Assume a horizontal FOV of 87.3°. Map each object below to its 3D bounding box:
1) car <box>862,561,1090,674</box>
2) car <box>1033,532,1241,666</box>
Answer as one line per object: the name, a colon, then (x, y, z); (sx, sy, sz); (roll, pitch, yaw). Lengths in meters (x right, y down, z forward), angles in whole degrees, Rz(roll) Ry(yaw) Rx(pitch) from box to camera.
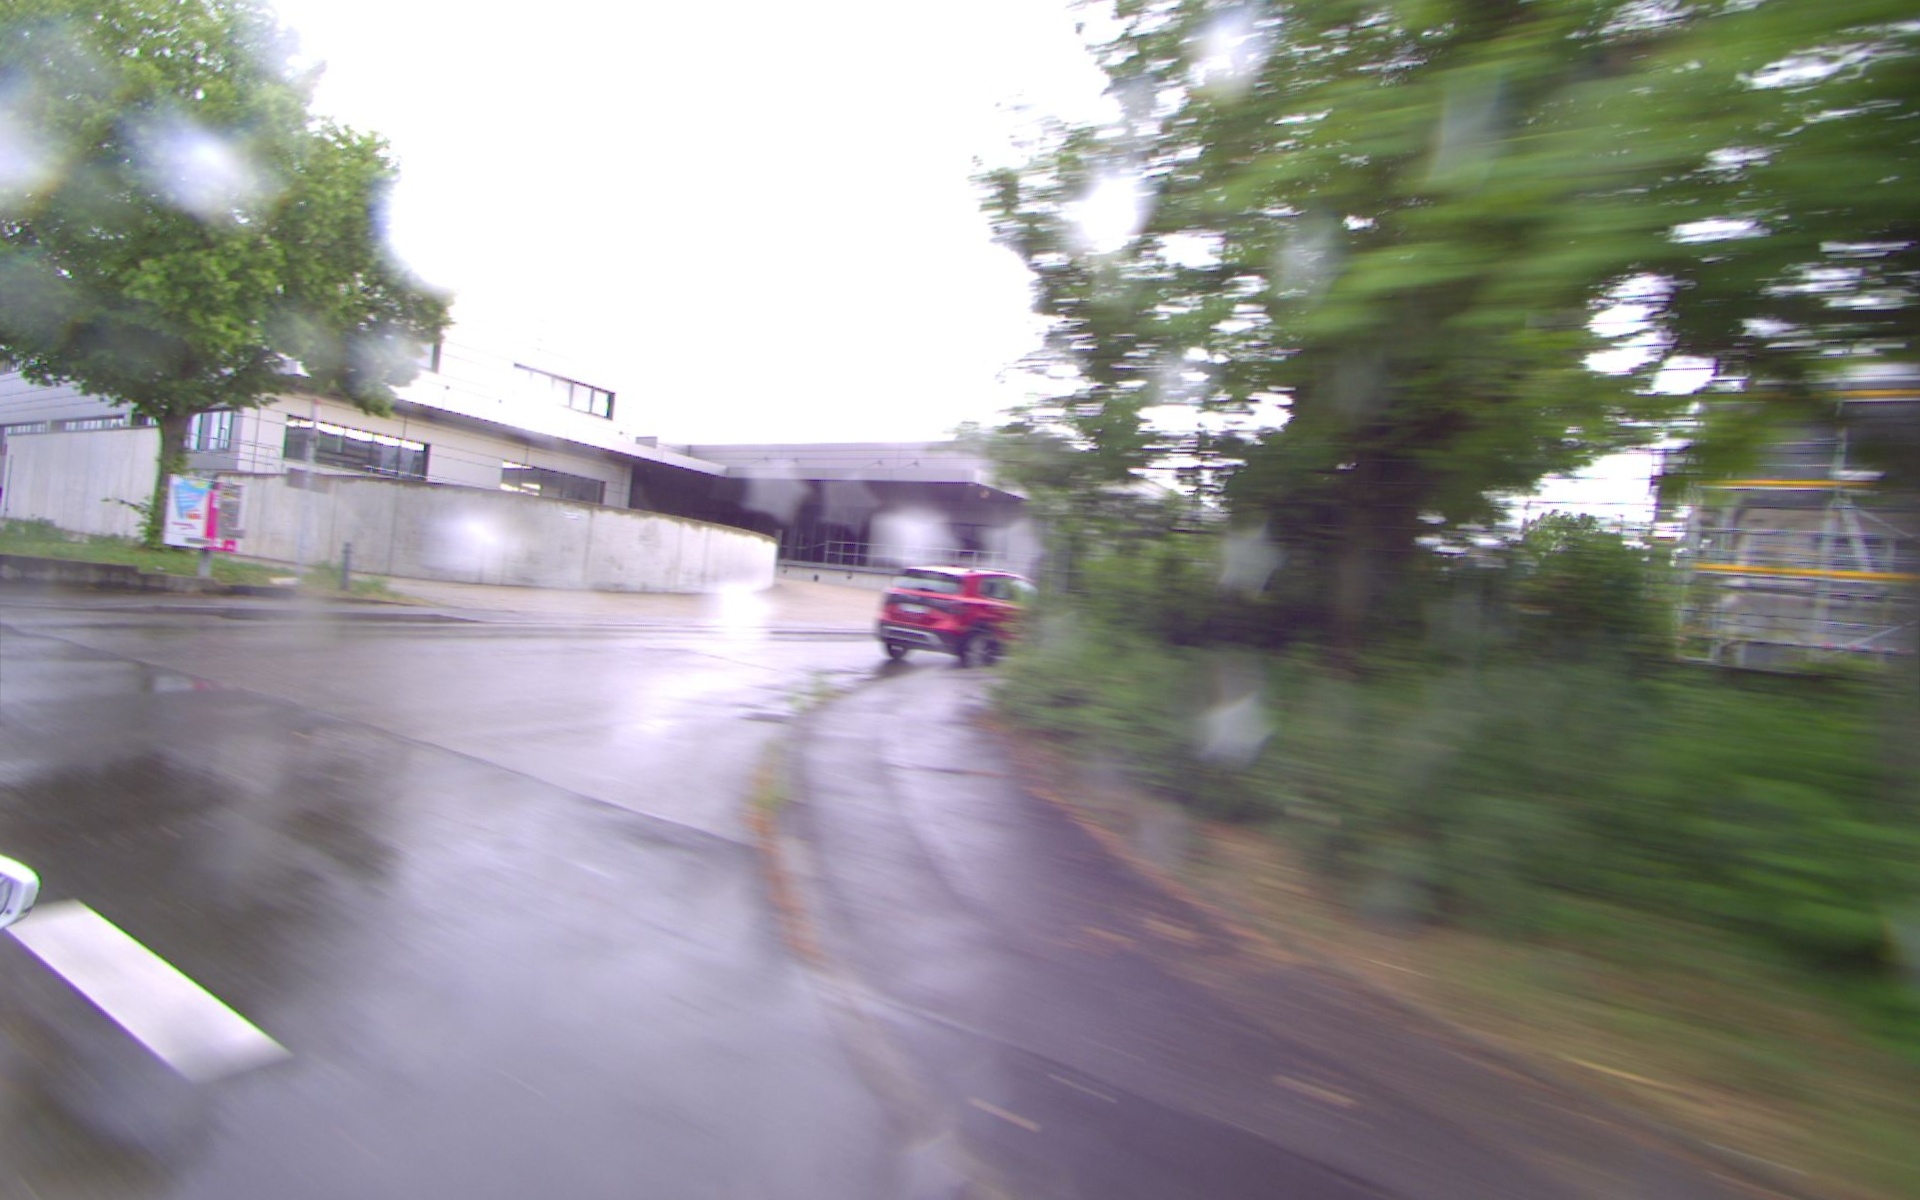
car: (0.382, 0.313, 16.616); (1.741, 1.518, 3.877); (7, 2, 36)
car: (3.906, 0.008, 21.551); (1.972, 2.471, 4.889); (7, 4, 41)
